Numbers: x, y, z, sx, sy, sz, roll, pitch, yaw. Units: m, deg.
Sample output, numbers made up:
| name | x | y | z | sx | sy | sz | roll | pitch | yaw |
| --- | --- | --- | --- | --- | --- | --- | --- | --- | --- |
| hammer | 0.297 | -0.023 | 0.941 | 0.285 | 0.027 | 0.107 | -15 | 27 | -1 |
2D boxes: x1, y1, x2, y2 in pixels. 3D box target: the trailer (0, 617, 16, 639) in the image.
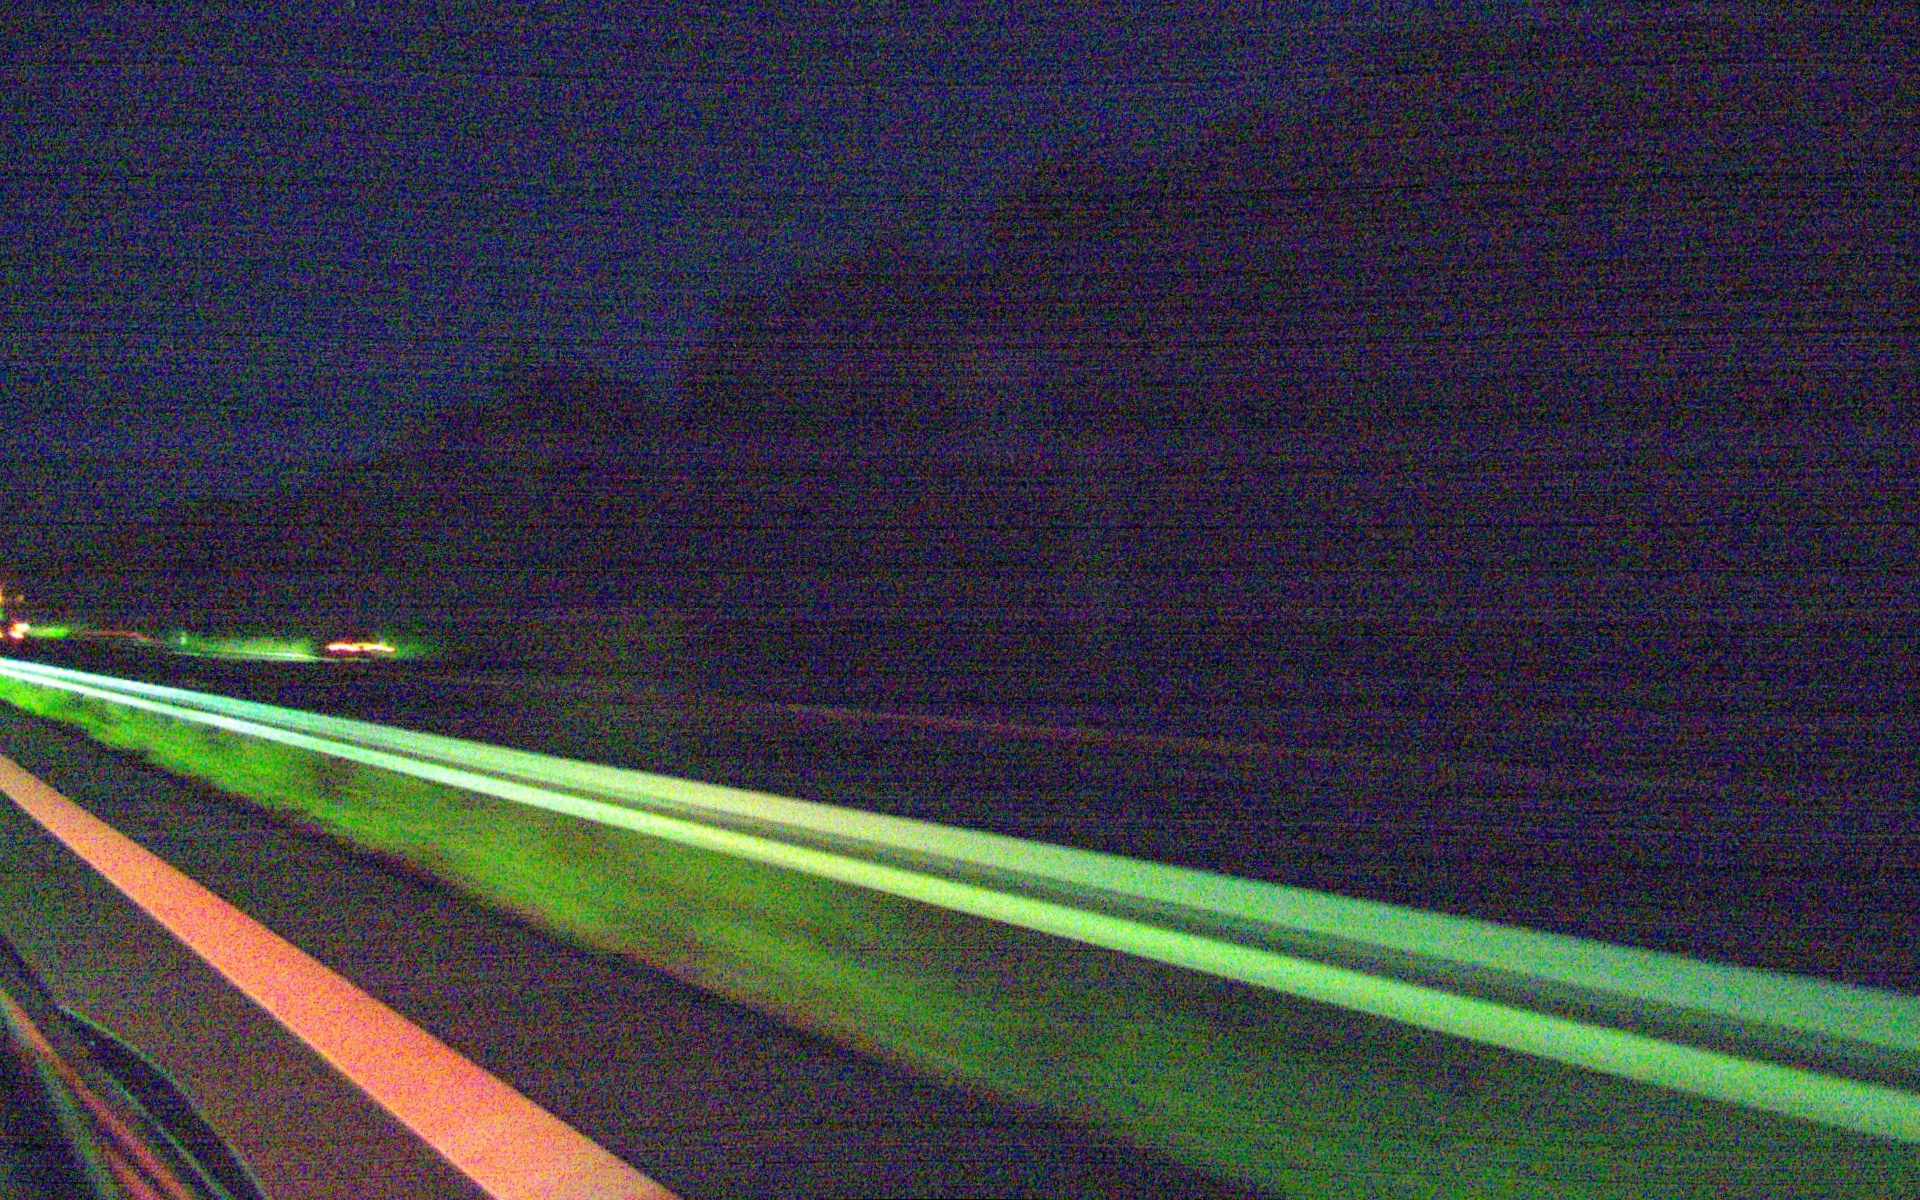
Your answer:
| name | x | y | z | sx | sy | sz | roll | pitch | yaw |
| --- | --- | --- | --- | --- | --- | --- | --- | --- | --- |
| trailer | -85.698 | 2.482 | 89.945 | 6.619 | 1.955 | 1.972 | -1 | -2 | 41 |

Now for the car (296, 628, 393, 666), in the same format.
| name | x | y | z | sx | sy | sz | roll | pitch | yaw |
| --- | --- | --- | --- | --- | --- | --- | --- | --- | --- |
| car | -26.513 | 1.993 | 43.549 | 5.197 | 1.515 | 1.973 | -1 | -3 | 40 |

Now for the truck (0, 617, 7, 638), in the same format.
| name | x | y | z | sx | sy | sz | roll | pitch | yaw |
| --- | --- | --- | --- | --- | --- | --- | --- | --- | --- |
| truck | -90.083 | 2.541 | 93.845 | 5.238 | 1.957 | 1.972 | -1 | -2 | 41 |
